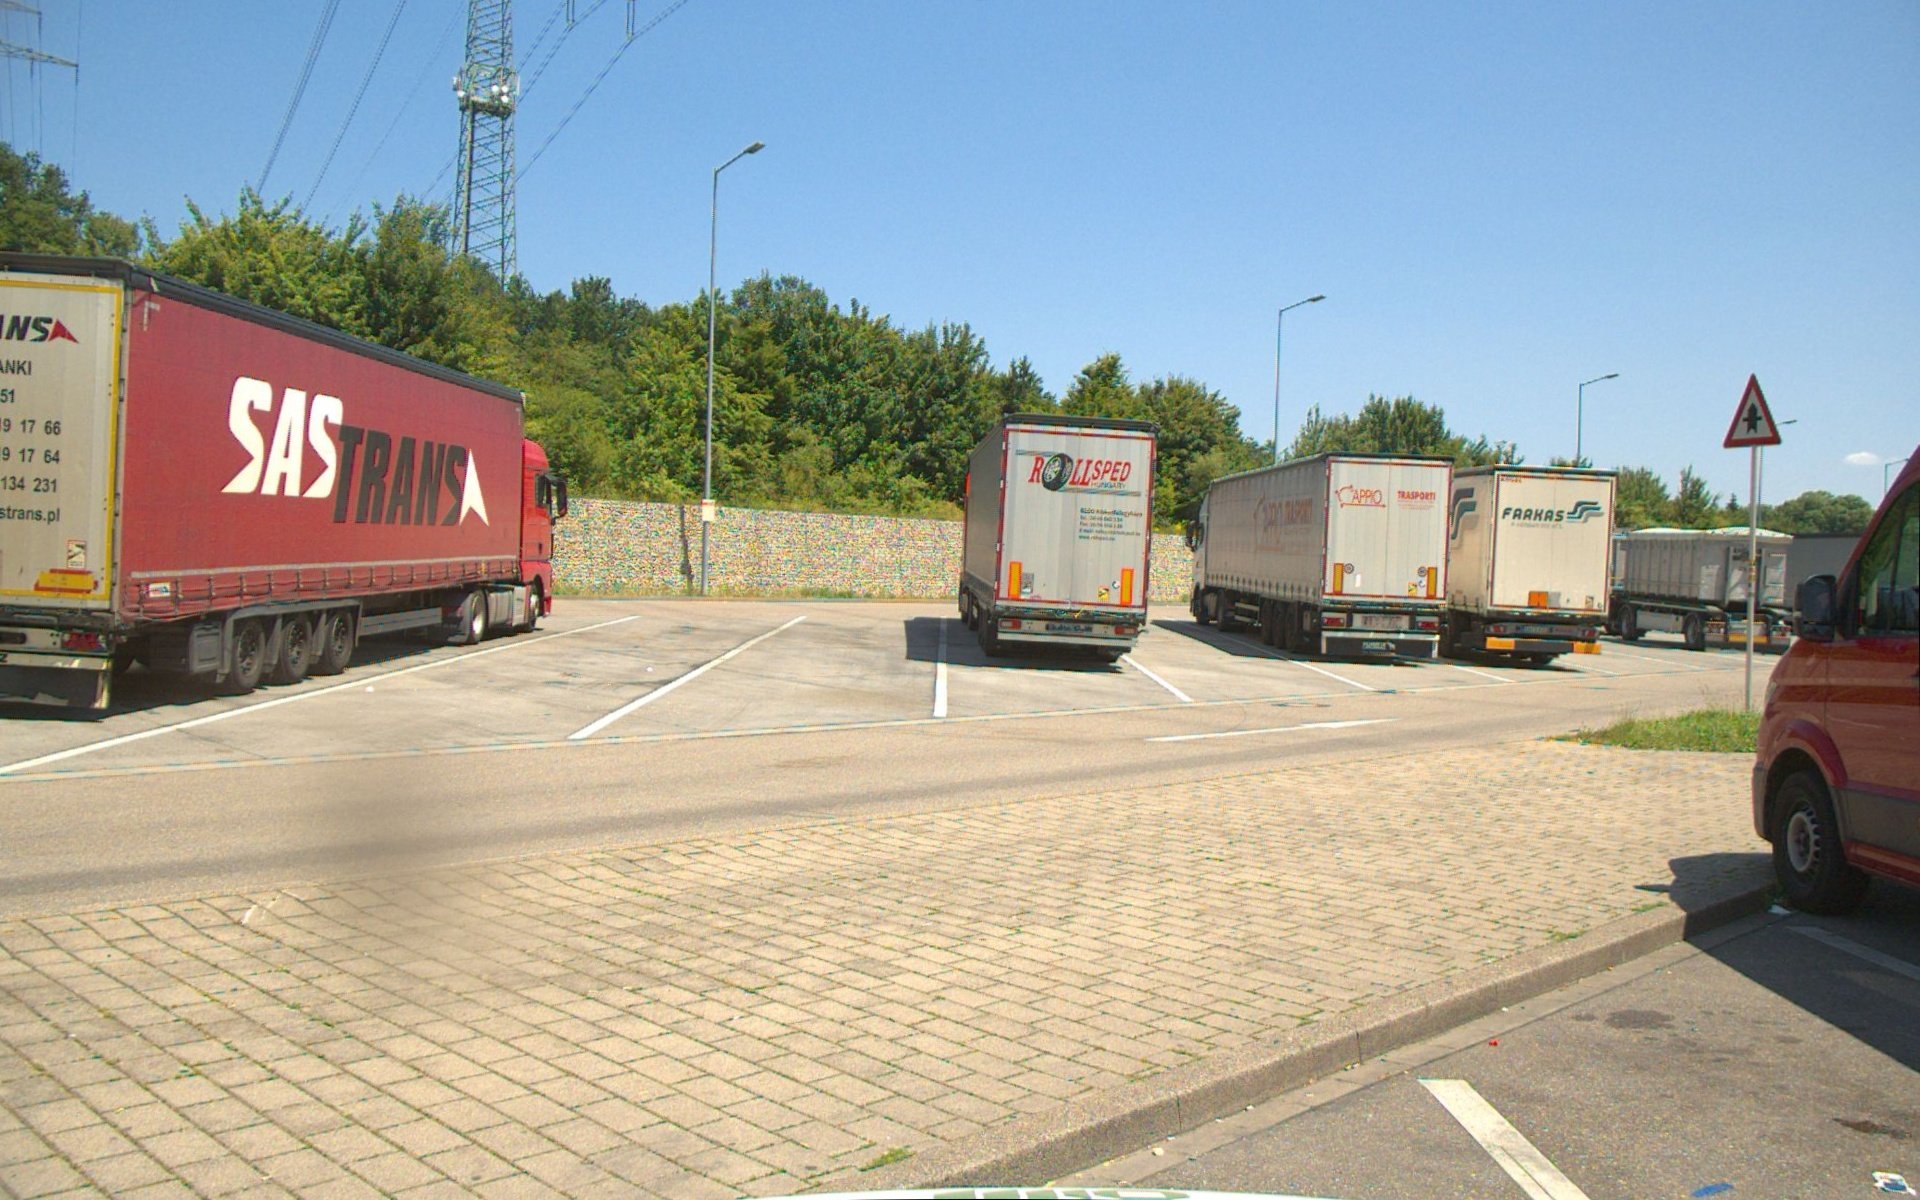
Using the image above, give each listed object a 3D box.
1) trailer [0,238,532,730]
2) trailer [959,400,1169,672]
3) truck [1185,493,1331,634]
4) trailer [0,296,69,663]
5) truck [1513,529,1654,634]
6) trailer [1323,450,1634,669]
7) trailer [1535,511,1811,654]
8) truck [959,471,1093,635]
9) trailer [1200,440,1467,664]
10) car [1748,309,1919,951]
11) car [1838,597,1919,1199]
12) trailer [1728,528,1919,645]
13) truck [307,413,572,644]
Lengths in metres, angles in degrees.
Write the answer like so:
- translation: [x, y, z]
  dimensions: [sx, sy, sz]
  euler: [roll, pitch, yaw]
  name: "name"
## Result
- translation: [-8.673, -1.292, 21.173]
  dimensions: [2.848, 4.203, 13.723]
  euler: [2, 2, -1]
  name: "trailer"
- translation: [1.654, -1.226, 33.227]
  dimensions: [2.848, 4.204, 13.720]
  euler: [2, 2, -2]
  name: "trailer"
- translation: [8.099, -1.032, 45.626]
  dimensions: [2.794, 3.544, 5.482]
  euler: [2, 2, -1]
  name: "truck"
- translation: [-12.518, -1.304, 15.689]
  dimensions: [2.673, 4.282, 10.170]
  euler: [2, 2, -1]
  name: "trailer"
- translation: [22.009, -0.709, 58.702]
  dimensions: [2.794, 3.423, 5.484]
  euler: [3, 2, 0]
  name: "truck"
- translation: [11.774, -1.013, 39.622]
  dimensions: [2.781, 4.204, 13.722]
  euler: [2, 2, -1]
  name: "trailer"
- translation: [21.929, -0.680, 52.198]
  dimensions: [2.780, 3.781, 13.726]
  euler: [2, 2, 1]
  name: "trailer"
- translation: [1.485, -1.137, 39.836]
  dimensions: [2.794, 3.544, 5.482]
  euler: [2, 2, -1]
  name: "truck"
- translation: [8.214, -1.133, 38.817]
  dimensions: [2.781, 4.204, 13.722]
  euler: [2, 2, -1]
  name: "trailer"
- translation: [5.018, 0.164, 5.548]
  dimensions: [2.023, 2.742, 6.397]
  euler: [1, 1, 4]
  name: "car"
- translation: [2.608, 0.798, 1.143]
  dimensions: [1.703, 1.508, 3.813]
  euler: [1, 1, -6]
  name: "car"
- translation: [34.940, -0.639, 65.404]
  dimensions: [2.780, 4.119, 13.726]
  euler: [2, 2, 1]
  name: "trailer"
- translation: [-8.788, -1.200, 28.608]
  dimensions: [2.794, 3.487, 5.482]
  euler: [2, 2, -1]
  name: "truck"
